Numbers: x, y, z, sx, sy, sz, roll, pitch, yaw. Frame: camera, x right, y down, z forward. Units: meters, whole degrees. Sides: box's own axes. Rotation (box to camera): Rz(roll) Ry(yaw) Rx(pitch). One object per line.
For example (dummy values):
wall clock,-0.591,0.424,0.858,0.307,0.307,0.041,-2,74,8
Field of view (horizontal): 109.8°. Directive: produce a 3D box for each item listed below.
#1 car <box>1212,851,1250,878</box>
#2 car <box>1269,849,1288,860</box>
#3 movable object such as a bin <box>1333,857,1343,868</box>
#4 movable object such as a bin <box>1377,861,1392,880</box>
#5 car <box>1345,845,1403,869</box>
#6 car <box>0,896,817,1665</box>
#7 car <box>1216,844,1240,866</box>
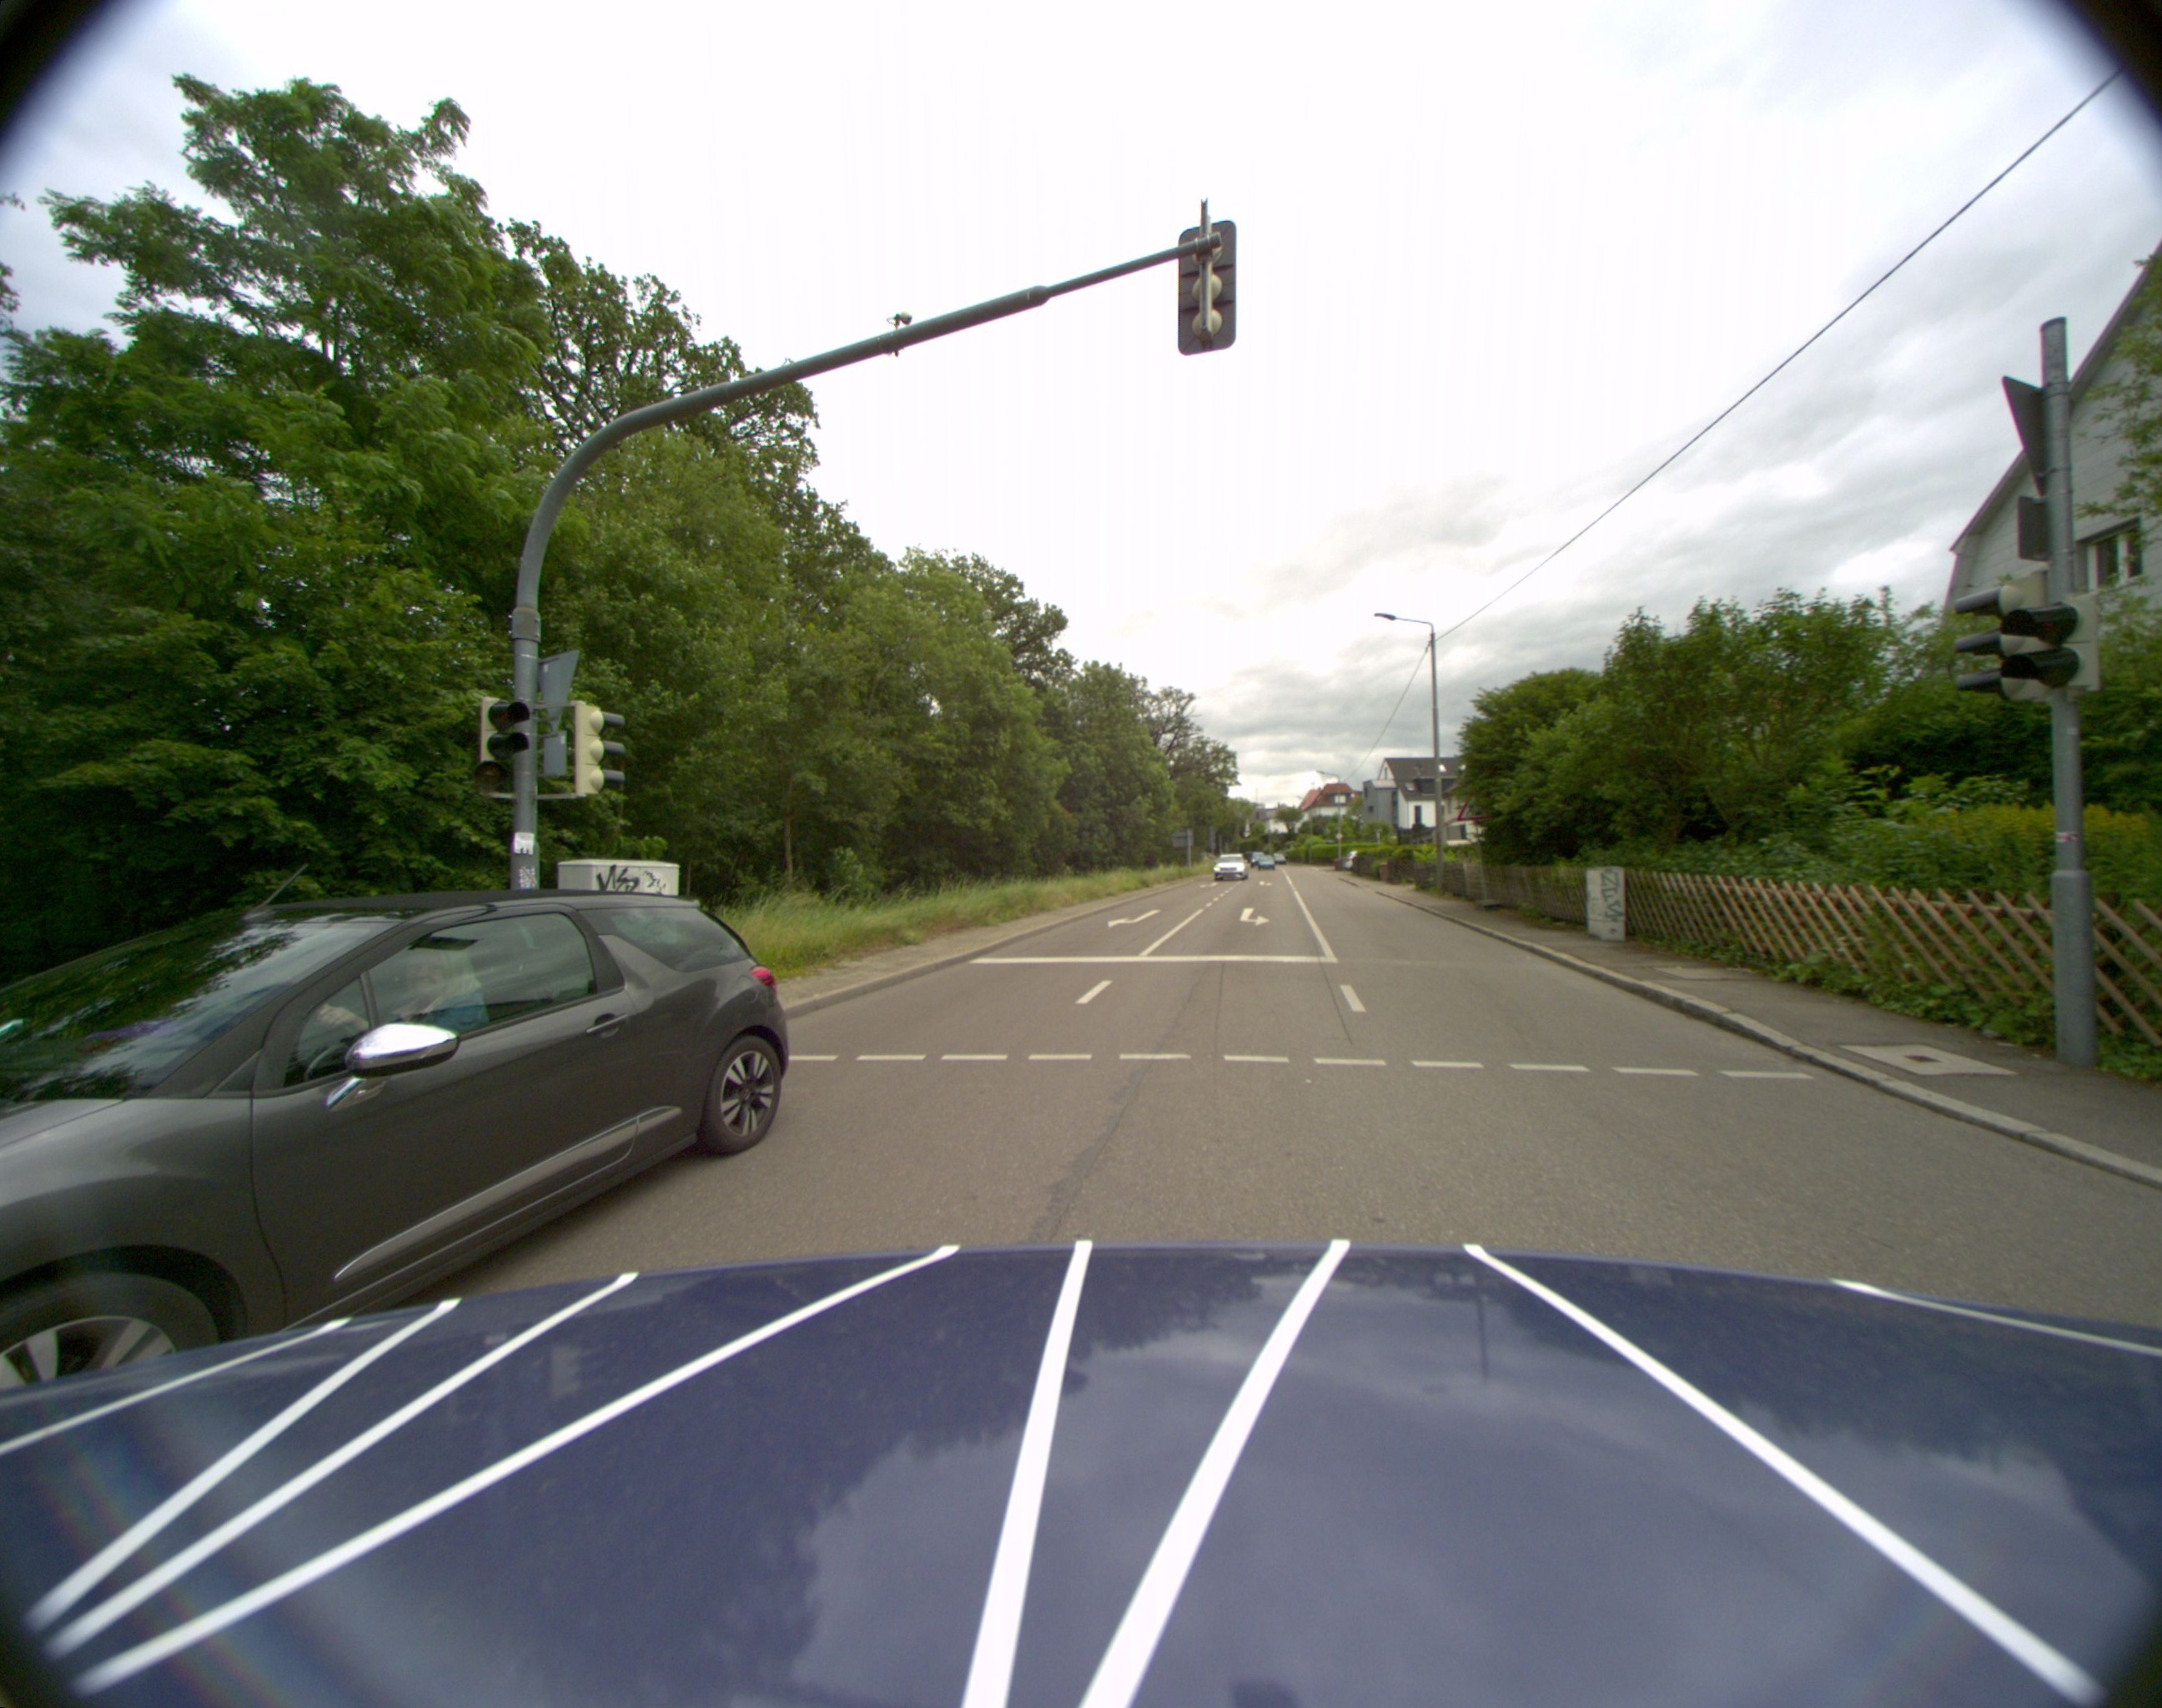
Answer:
car,9.532,0.643,47.964,1.996,1.565,4.004,-2,0,16
car,27.315,0.032,105.020,1.838,1.514,4.001,-1,0,4
movable object such as a bin,21.226,0.691,62.698,0.689,0.948,0.572,-1,1,12
movable object such as a bin,15.305,0.824,38.331,0.633,0.907,0.561,-3,0,24
car,22.808,0.229,59.240,3.993,1.584,1.720,-3,0,14
car,-2.908,1.025,2.896,1.728,1.449,3.859,-2,0,13
car,13.899,0.097,71.639,1.996,2.002,4.004,-1,0,14
